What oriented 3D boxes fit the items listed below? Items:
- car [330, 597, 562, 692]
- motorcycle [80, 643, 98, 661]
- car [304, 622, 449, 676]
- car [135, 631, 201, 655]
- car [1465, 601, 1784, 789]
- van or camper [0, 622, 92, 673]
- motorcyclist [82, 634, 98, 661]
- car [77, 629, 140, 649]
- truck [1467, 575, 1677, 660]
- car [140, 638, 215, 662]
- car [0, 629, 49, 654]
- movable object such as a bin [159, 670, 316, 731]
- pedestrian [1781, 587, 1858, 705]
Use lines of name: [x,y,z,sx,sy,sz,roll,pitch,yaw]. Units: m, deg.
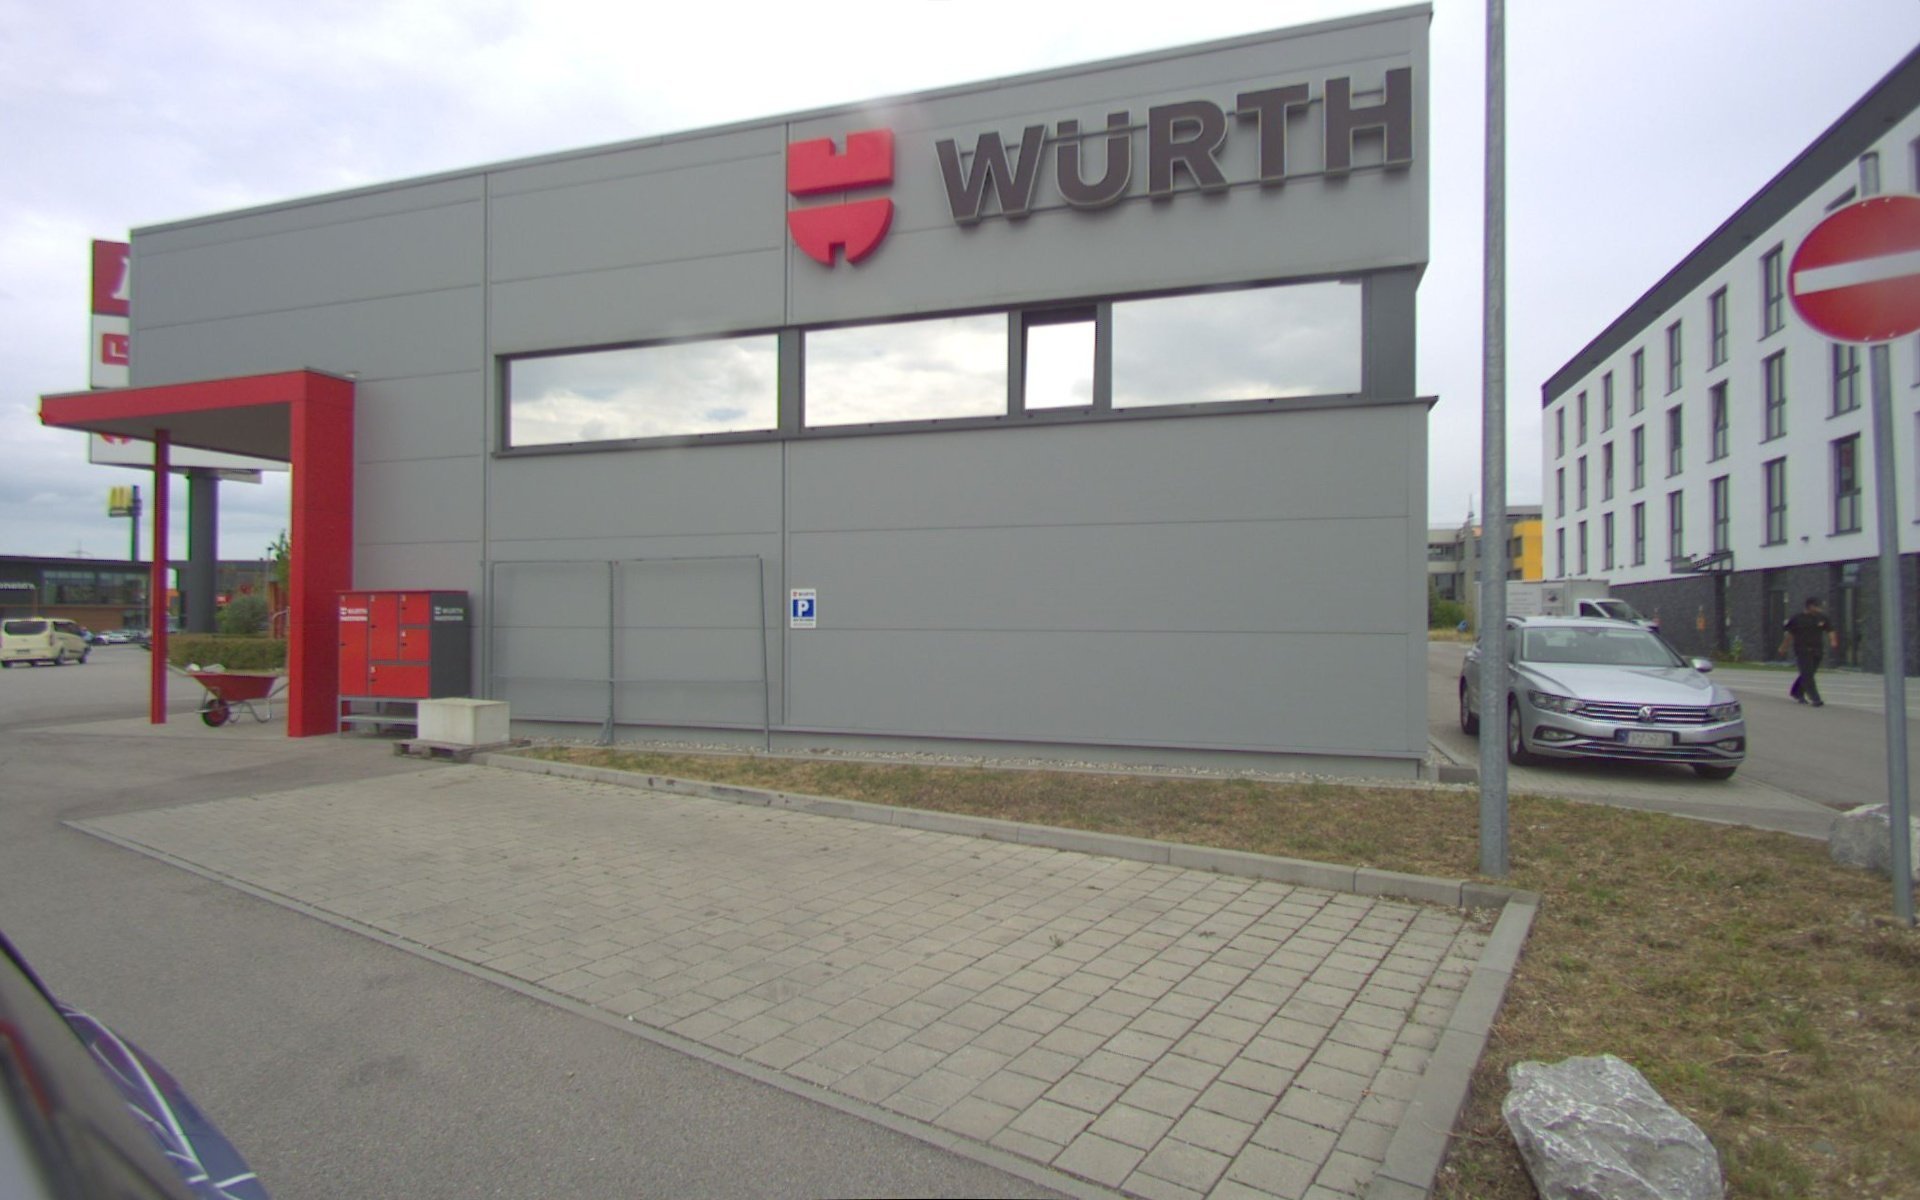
car: [-11.735,1.007,23.140,4.717,2.029,1.927,-1,-1,16]
motorcycle: [-54.859,3.290,63.756,0.804,1.083,2.153,1,-2,-41]
car: [-19.885,1.655,34.492,4.708,1.762,1.746,-1,-2,21]
car: [-65.586,3.522,83.837,1.995,1.852,3.953,-2,-1,34]
car: [6.763,0.827,10.916,1.968,1.503,4.734,1,-1,22]
van or camper: [-39.551,1.999,43.665,1.827,2.077,5.251,0,-2,-26]
motorcyclist: [-54.886,2.975,63.828,0.742,1.650,1.039,0,-2,-41]
car: [-77.202,3.555,91.809,3.934,1.674,2.005,-1,-1,-12]
truck: [23.927,0.704,40.087,2.394,3.039,7.092,0,-1,-21]
car: [-48.135,3.056,62.306,1.498,1.305,3.398,-2,-1,39]
car: [-78.465,3.432,83.851,3.934,2.029,2.005,-1,-1,-12]
movable object such as a bin: [-9.816,1.344,13.820,0.797,0.721,1.575,-1,-2,19]
pedestrian: [13.863,0.729,16.342,0.705,1.836,0.806,-1,-2,24]
